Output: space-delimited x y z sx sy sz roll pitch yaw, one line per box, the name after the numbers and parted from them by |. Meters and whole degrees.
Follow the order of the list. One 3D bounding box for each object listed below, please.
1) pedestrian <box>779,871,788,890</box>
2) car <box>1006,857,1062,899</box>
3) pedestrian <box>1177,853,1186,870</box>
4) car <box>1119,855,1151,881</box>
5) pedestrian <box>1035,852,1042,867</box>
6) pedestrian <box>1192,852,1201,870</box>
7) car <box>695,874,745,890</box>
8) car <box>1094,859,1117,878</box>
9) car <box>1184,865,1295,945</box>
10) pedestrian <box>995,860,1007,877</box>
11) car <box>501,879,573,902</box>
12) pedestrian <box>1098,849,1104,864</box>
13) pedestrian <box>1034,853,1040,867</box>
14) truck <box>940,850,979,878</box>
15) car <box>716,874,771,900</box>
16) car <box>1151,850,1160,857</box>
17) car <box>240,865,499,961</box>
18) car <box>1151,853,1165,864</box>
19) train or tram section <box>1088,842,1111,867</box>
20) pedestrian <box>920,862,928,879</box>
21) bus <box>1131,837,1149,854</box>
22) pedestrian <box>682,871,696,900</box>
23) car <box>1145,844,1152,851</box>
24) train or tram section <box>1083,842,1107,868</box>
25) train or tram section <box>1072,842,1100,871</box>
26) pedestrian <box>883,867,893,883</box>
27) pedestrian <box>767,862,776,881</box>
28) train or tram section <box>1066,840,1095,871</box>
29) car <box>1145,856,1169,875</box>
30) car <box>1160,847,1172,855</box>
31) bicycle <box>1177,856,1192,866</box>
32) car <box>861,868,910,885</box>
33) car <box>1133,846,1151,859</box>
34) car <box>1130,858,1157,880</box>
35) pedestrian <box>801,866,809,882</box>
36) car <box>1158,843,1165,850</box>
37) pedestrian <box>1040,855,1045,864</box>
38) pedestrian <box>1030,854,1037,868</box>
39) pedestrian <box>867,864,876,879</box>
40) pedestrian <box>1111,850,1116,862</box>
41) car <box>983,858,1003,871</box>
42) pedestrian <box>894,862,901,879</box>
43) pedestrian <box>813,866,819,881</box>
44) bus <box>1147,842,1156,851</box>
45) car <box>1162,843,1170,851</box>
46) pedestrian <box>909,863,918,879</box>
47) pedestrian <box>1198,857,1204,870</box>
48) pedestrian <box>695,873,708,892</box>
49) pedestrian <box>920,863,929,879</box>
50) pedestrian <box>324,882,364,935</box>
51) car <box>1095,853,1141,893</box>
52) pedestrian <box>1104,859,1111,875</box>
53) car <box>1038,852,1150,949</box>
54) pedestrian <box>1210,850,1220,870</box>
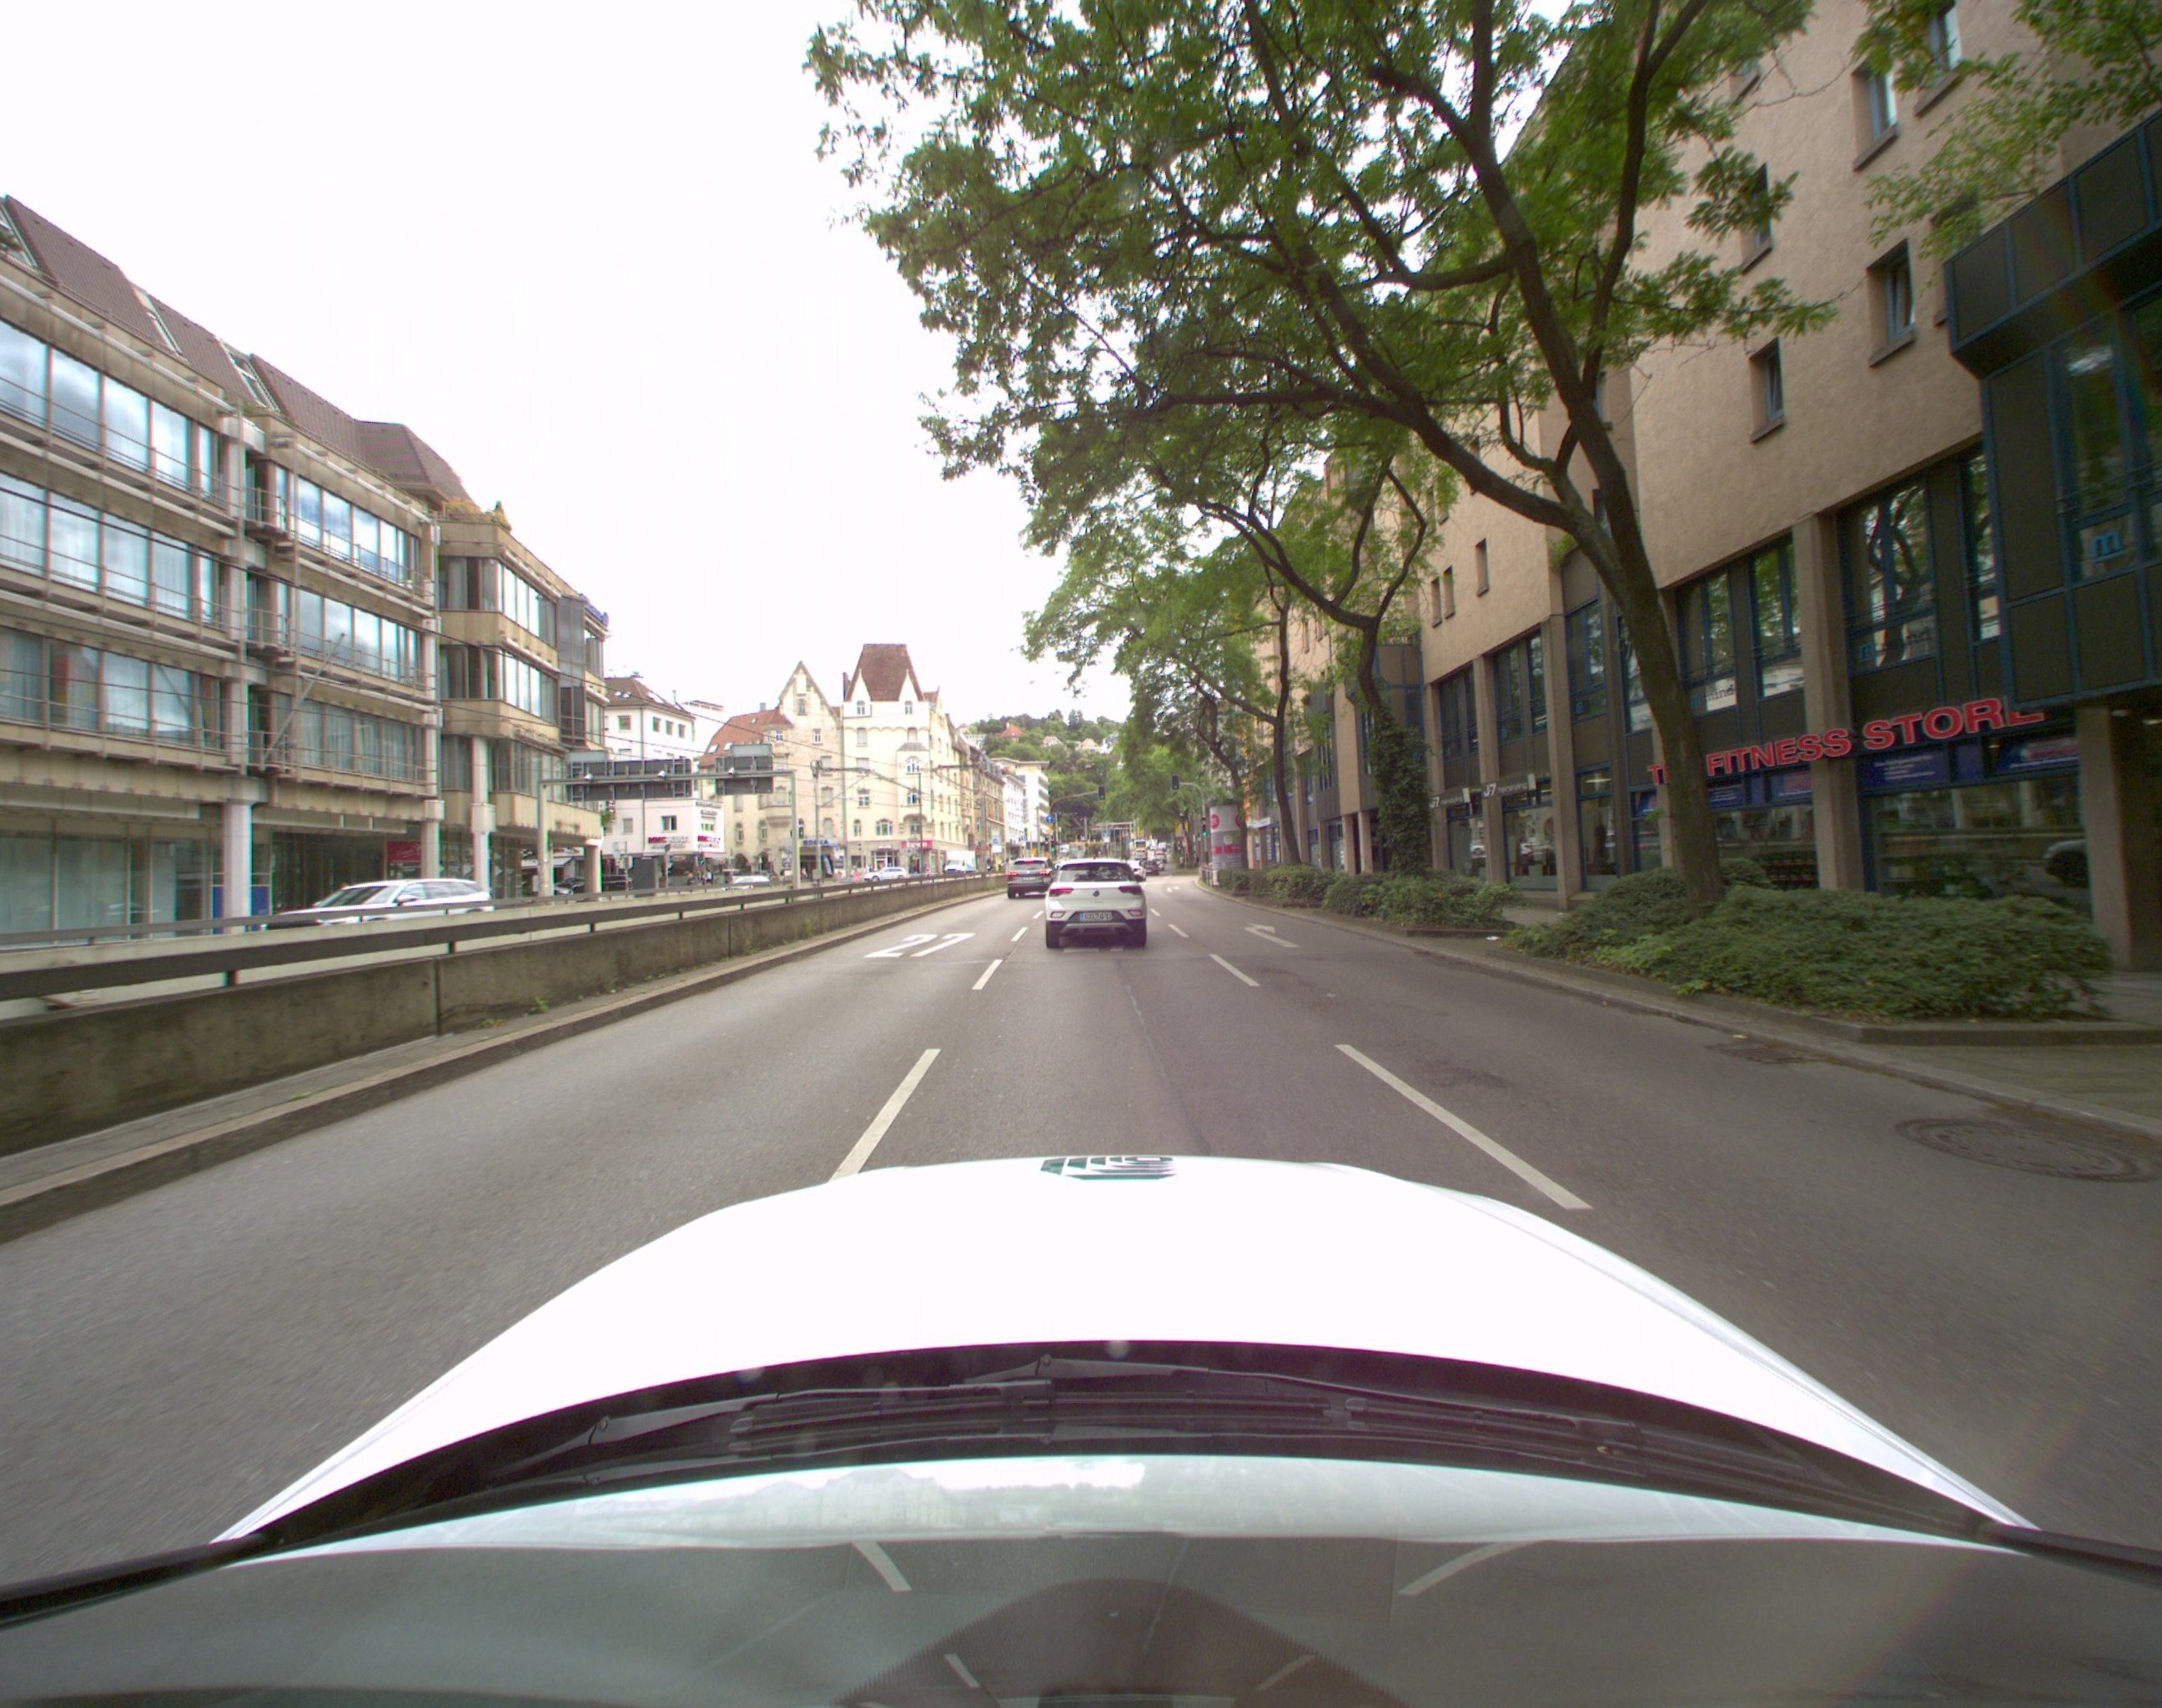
-28.416 2.497 77.663 0.506 1.780 0.579 -2 -1 18 | pedestrian
-1.918 0.983 34.667 1.986 1.636 4.002 -2 0 2 | car
11.028 0.824 89.436 0.690 1.777 0.690 -6 -1 2 | pedestrian
3.743 0.973 56.885 1.879 1.684 4.160 -1 -1 0 | car
-5.386 0.689 102.688 0.623 1.762 0.848 -2 -1 7 | pedestrian
12.494 0.769 88.032 0.718 1.803 0.835 -4 2 2 | pedestrian
-36.806 2.825 83.051 4.466 1.561 1.761 -1 -1 15 | car
2.242 1.319 75.230 1.879 1.684 4.160 -1 -1 0 | car
3.373 1.042 18.084 1.936 1.530 4.004 -1 -1 4 | car
-8.192 1.449 83.248 0.866 1.705 0.817 -2 -1 35 | pedestrian
-40.576 2.702 60.798 3.986 1.530 1.944 -1 -1 -10 | car
2.315 0.307 94.308 0.682 1.711 0.713 -2 0 6 | pedestrian
-5.688 0.781 105.442 0.634 1.711 0.689 -2 0 -3 | pedestrian
-13.898 1.164 93.575 2.253 3.076 7.391 -1 -1 8 | truck
-21.698 2.100 52.520 1.658 1.501 4.044 -2 0 2 | car
14.751 -0.104 161.353 1.574 1.172 3.684 -1 -1 6 | car
-15.577 1.193 18.266 1.829 1.842 4.600 2 -1 -3 | car
11.483 0.690 121.566 1.875 1.684 4.168 -1 -1 6 | car
2.761 0.078 121.615 2.820 3.521 5.763 -1 0 7 | train or tram section
-17.289 1.811 89.719 0.505 1.780 0.580 -2 -1 20 | pedestrian
12.354 -1.730 170.030 3.355 3.065 13.346 -1 -1 6 | bus
-24.612 1.985 51.177 0.507 1.780 0.578 -2 -1 8 | pedestrian
17.362 -1.717 210.007 1.665 1.561 3.993 -1 -1 6 | car
2.081 0.121 115.883 2.820 3.521 5.763 -1 0 7 | train or tram section
0.702 0.256 104.405 2.820 3.521 5.763 -1 0 7 | train or tram section
-21.454 2.369 90.576 0.780 1.780 0.672 -2 -1 37 | pedestrian
-29.910 1.695 78.590 0.569 1.780 0.515 -2 -1 32 | pedestrian
0.028 0.143 98.667 2.820 3.678 5.763 -1 0 7 | train or tram section
8.658 1.327 93.554 2.356 2.014 5.149 -1 -1 1 | car
18.396 -0.559 176.168 1.872 1.684 4.175 -1 -1 13 | car
12.748 0.856 99.938 1.703 1.184 0.448 -4 0 -2 | bicycle
-19.834 2.253 82.559 4.532 1.561 1.736 -1 -1 -34 | car
10.075 -0.201 133.974 2.350 2.014 5.161 -1 -1 9 | car
6.228 1.439 80.235 2.352 2.014 5.158 -1 -1 7 | car
-31.125 2.310 91.844 0.580 1.780 0.505 -1 -1 -44 | pedestrian
19.226 -1.817 193.858 1.665 1.561 3.684 -1 -1 6 | car
-5.201 0.757 109.788 0.632 1.107 0.691 -2 0 6 | pedestrian
-5.945 0.819 101.356 0.684 1.711 0.663 -2 0 5 | pedestrian
-23.253 1.947 90.355 0.777 1.705 0.655 -2 -1 11 | pedestrian
4.741 0.278 119.200 0.714 1.731 0.672 -1 -1 7 | pedestrian
-12.124 1.397 112.388 1.665 1.759 4.790 -1 -1 6 | car
-19.848 1.801 88.102 0.571 1.780 0.513 -2 -1 11 | pedestrian
-30.766 2.276 94.582 0.574 1.780 0.510 -2 -1 -8 | pedestrian
17.540 -1.807 202.888 1.986 2.014 4.001 -1 -1 1 | bus
21.958 -1.773 210.784 1.985 2.014 4.003 -1 -1 3 | car
-18.360 1.880 89.239 0.703 1.780 0.599 -2 -1 22 | pedestrian
12.836 1.034 87.073 0.469 1.333 0.520 -1 -1 2 | pedestrian
-34.791 2.576 74.647 0.777 1.705 0.655 -2 -1 11 | pedestrian
-17.512 1.887 90.895 0.667 1.677 0.695 -2 -1 24 | pedestrian
-26.232 1.931 28.992 0.728 1.811 0.740 -1 -1 0 | pedestrian
1.618 0.830 36.633 1.878 1.684 4.161 -2 -1 0 | car
2.853 1.438 88.907 0.632 1.711 0.873 -2 0 6 | pedestrian
0.212 0.801 15.627 1.832 1.584 4.155 -1 -1 0 | car
13.707 0.631 83.188 0.832 2.014 0.765 -1 -1 2 | pedestrian
